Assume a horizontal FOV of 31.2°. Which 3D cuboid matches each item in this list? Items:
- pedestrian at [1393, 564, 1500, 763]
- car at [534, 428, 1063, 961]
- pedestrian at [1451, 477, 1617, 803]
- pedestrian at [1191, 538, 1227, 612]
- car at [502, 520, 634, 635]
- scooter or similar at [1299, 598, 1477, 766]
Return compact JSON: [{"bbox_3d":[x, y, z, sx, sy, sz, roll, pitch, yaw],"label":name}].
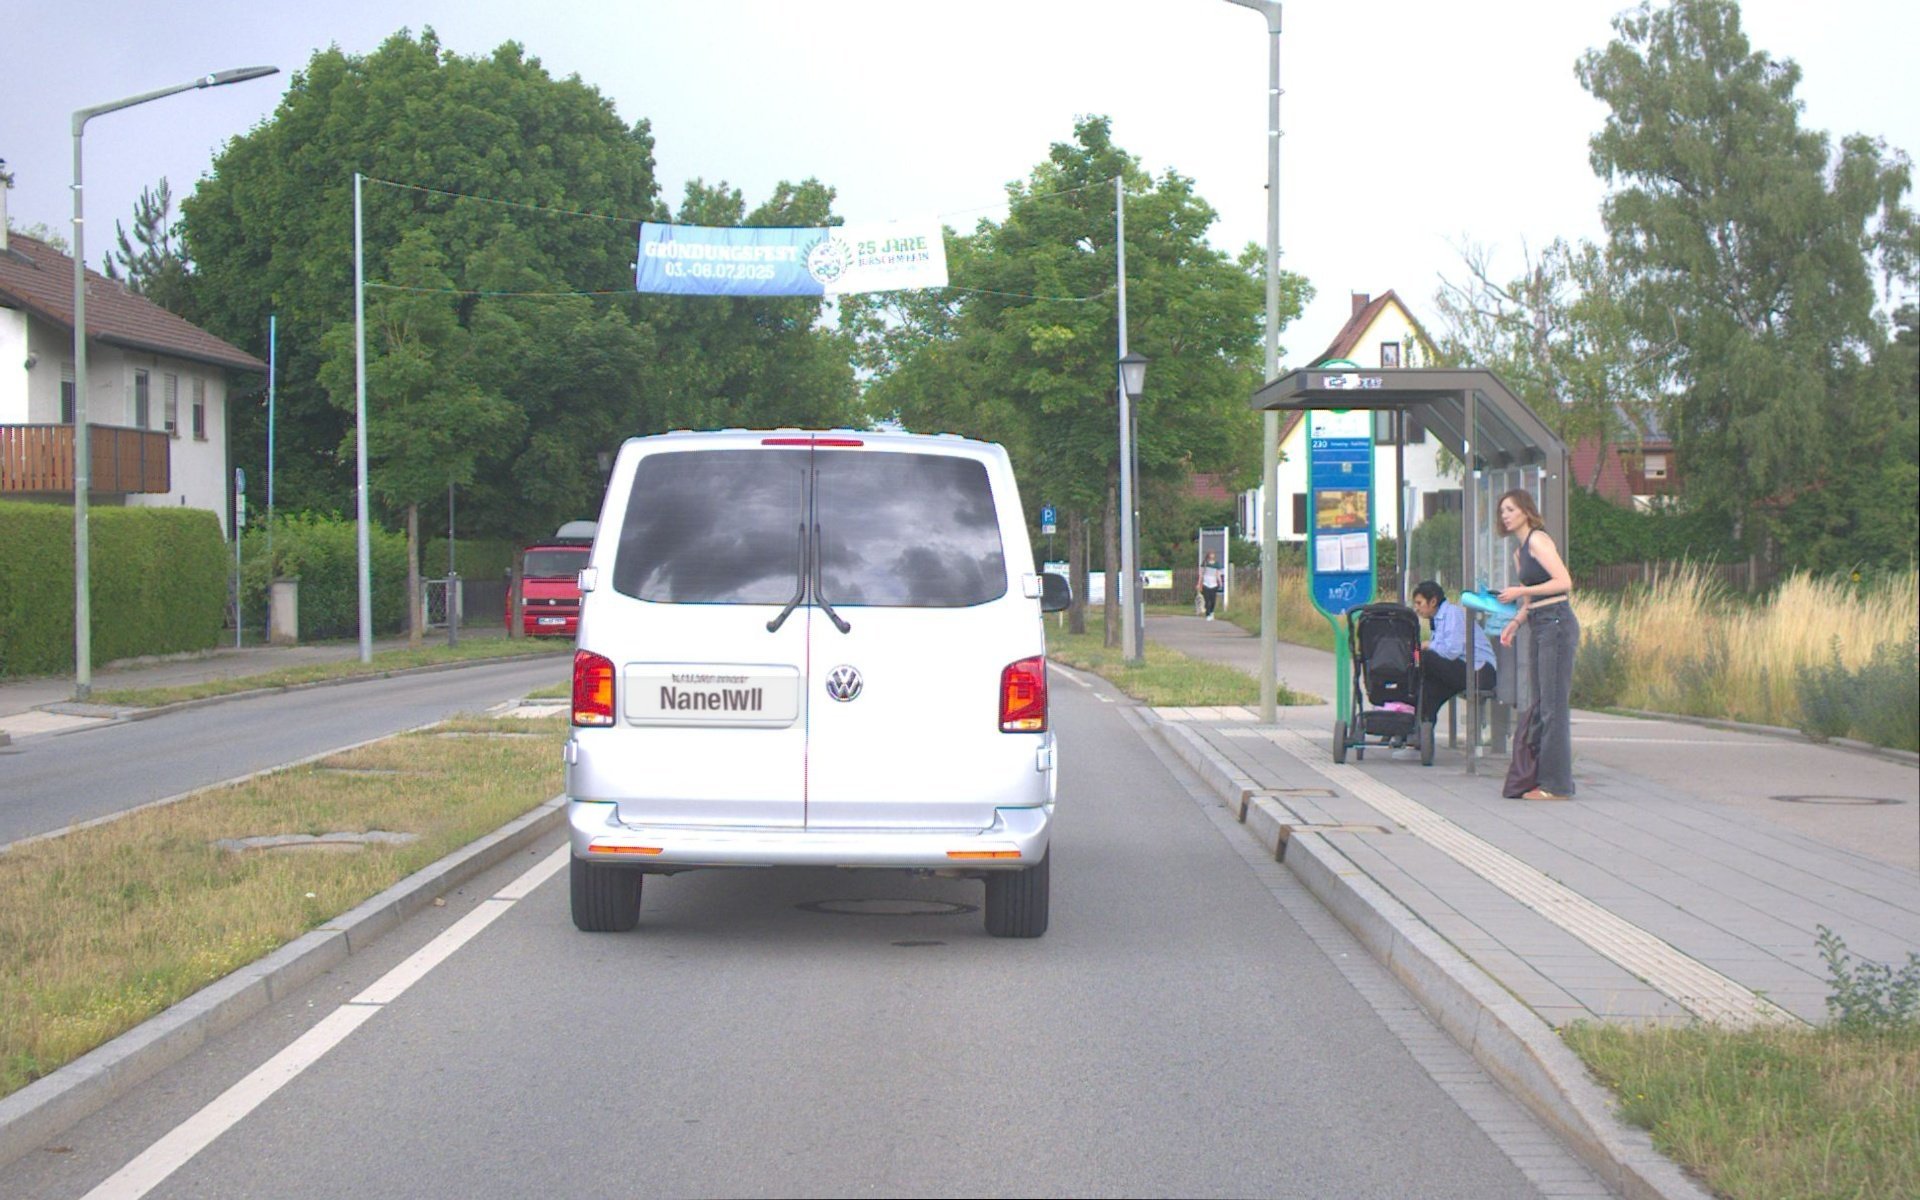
[{"bbox_3d":[3.276,0.421,23.106,0.665,1.298,0.505,2,0,9],"label":"pedestrian"},{"bbox_3d":[-0.612,0.328,14.401,1.888,1.905,4.000,1,0,-1],"label":"car"},{"bbox_3d":[3.260,0.216,19.484,0.781,1.786,0.778,2,0,17],"label":"pedestrian"},{"bbox_3d":[5.975,-0.605,82.341,0.837,1.749,0.869,0,0,5],"label":"pedestrian"},{"bbox_3d":[-7.328,-0.452,64.675,1.830,2.023,5.046,1,1,0],"label":"car"},{"bbox_3d":[2.823,0.530,22.642,0.708,1.058,1.058,2,0,37],"label":"scooter or similar"}]
